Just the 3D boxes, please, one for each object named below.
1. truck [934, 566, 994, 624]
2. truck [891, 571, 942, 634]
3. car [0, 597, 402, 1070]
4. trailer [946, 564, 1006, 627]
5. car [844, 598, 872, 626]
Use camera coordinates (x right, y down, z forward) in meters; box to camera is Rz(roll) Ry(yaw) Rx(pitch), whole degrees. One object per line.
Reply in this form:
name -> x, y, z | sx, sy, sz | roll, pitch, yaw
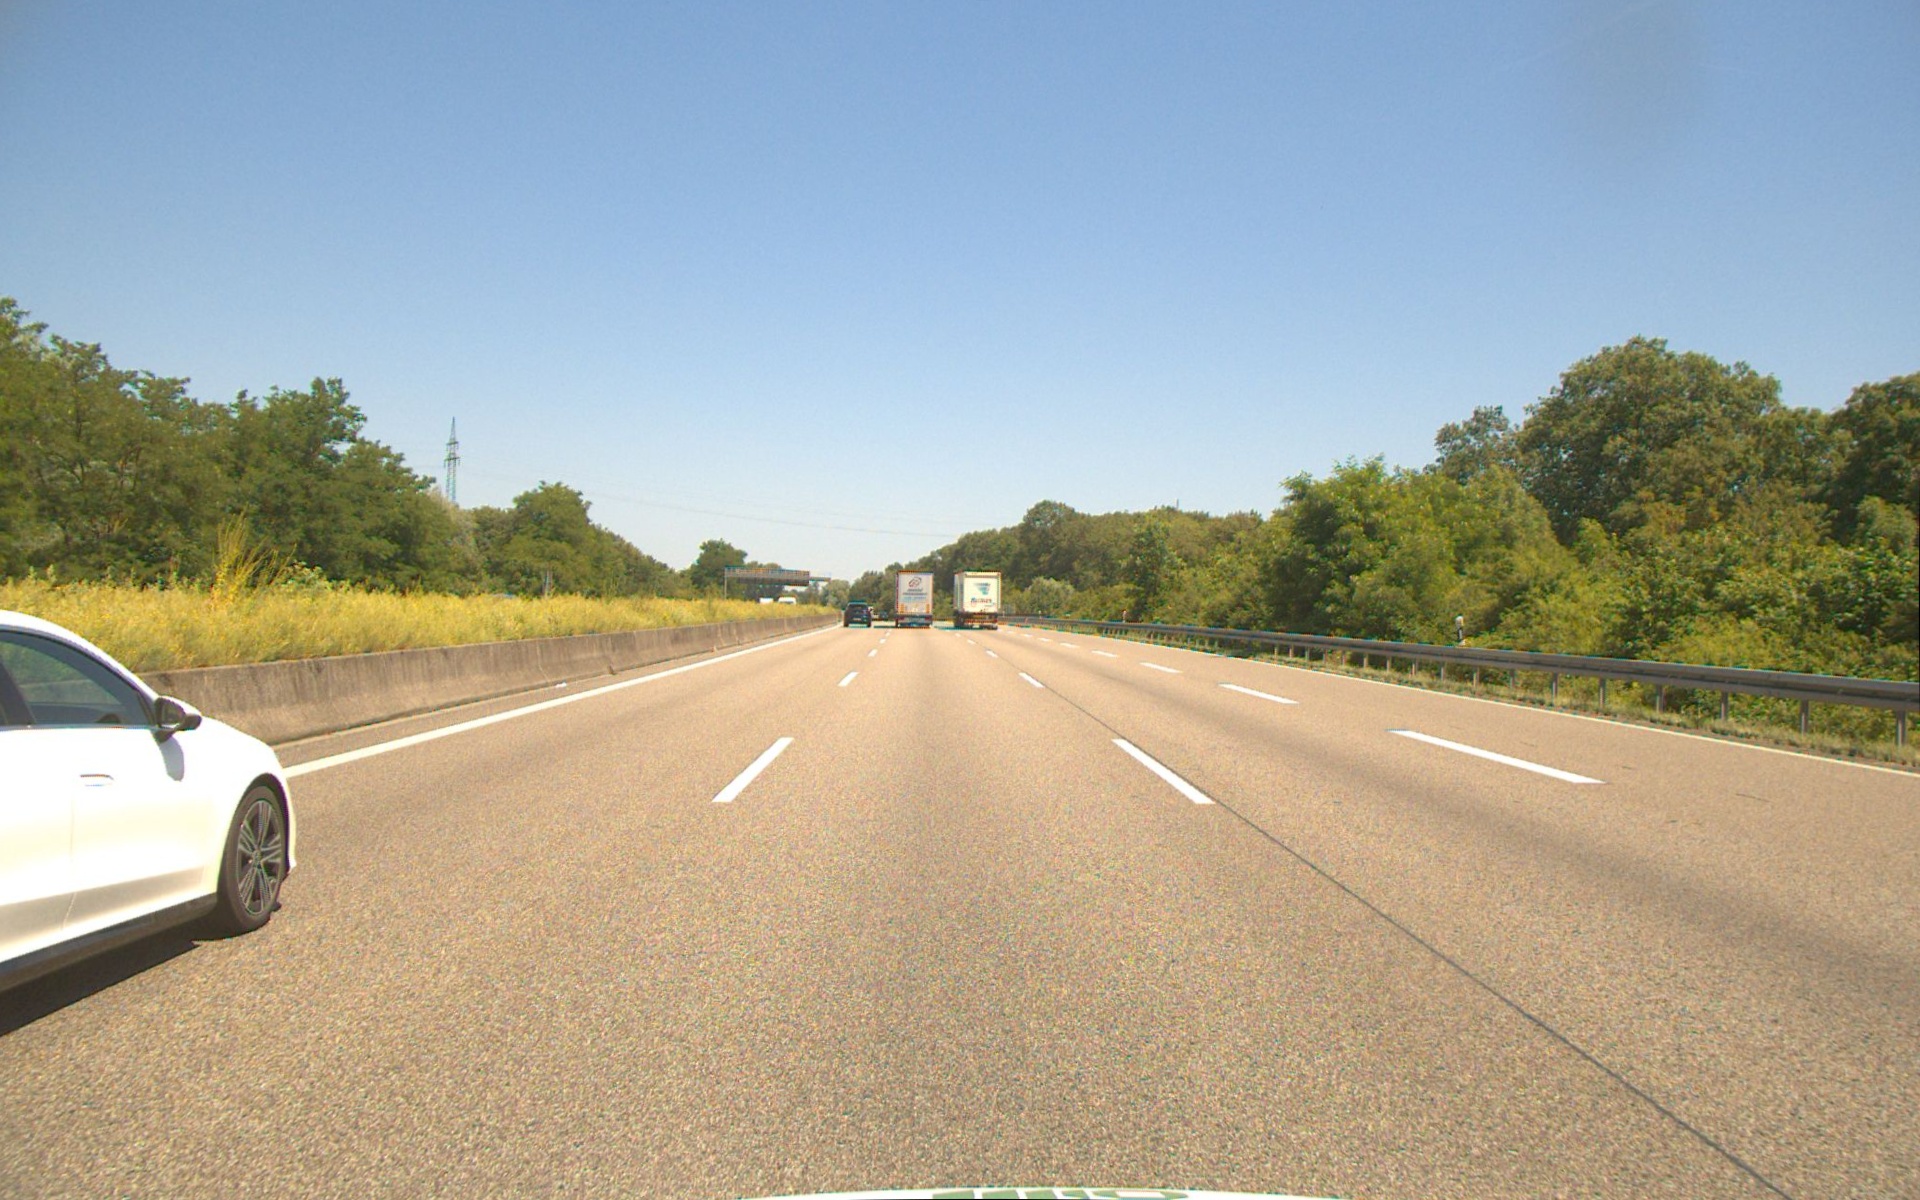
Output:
truck -> 0.209, -0.393, 125.018 | 3.262, 4.123, 10.940 | 1, 1, -6
truck -> -3.194, 0.159, 118.272 | 3.166, 4.275, 8.458 | 1, 0, -4
car -> -3.887, 0.744, 6.460 | 1.731, 1.474, 5.107 | -1, 0, -1
trailer -> 1.054, -0.364, 116.395 | 3.302, 4.215, 9.082 | 1, 0, -5
car -> -7.401, 0.846, 119.711 | 1.954, 1.907, 3.997 | 1, 1, -4
